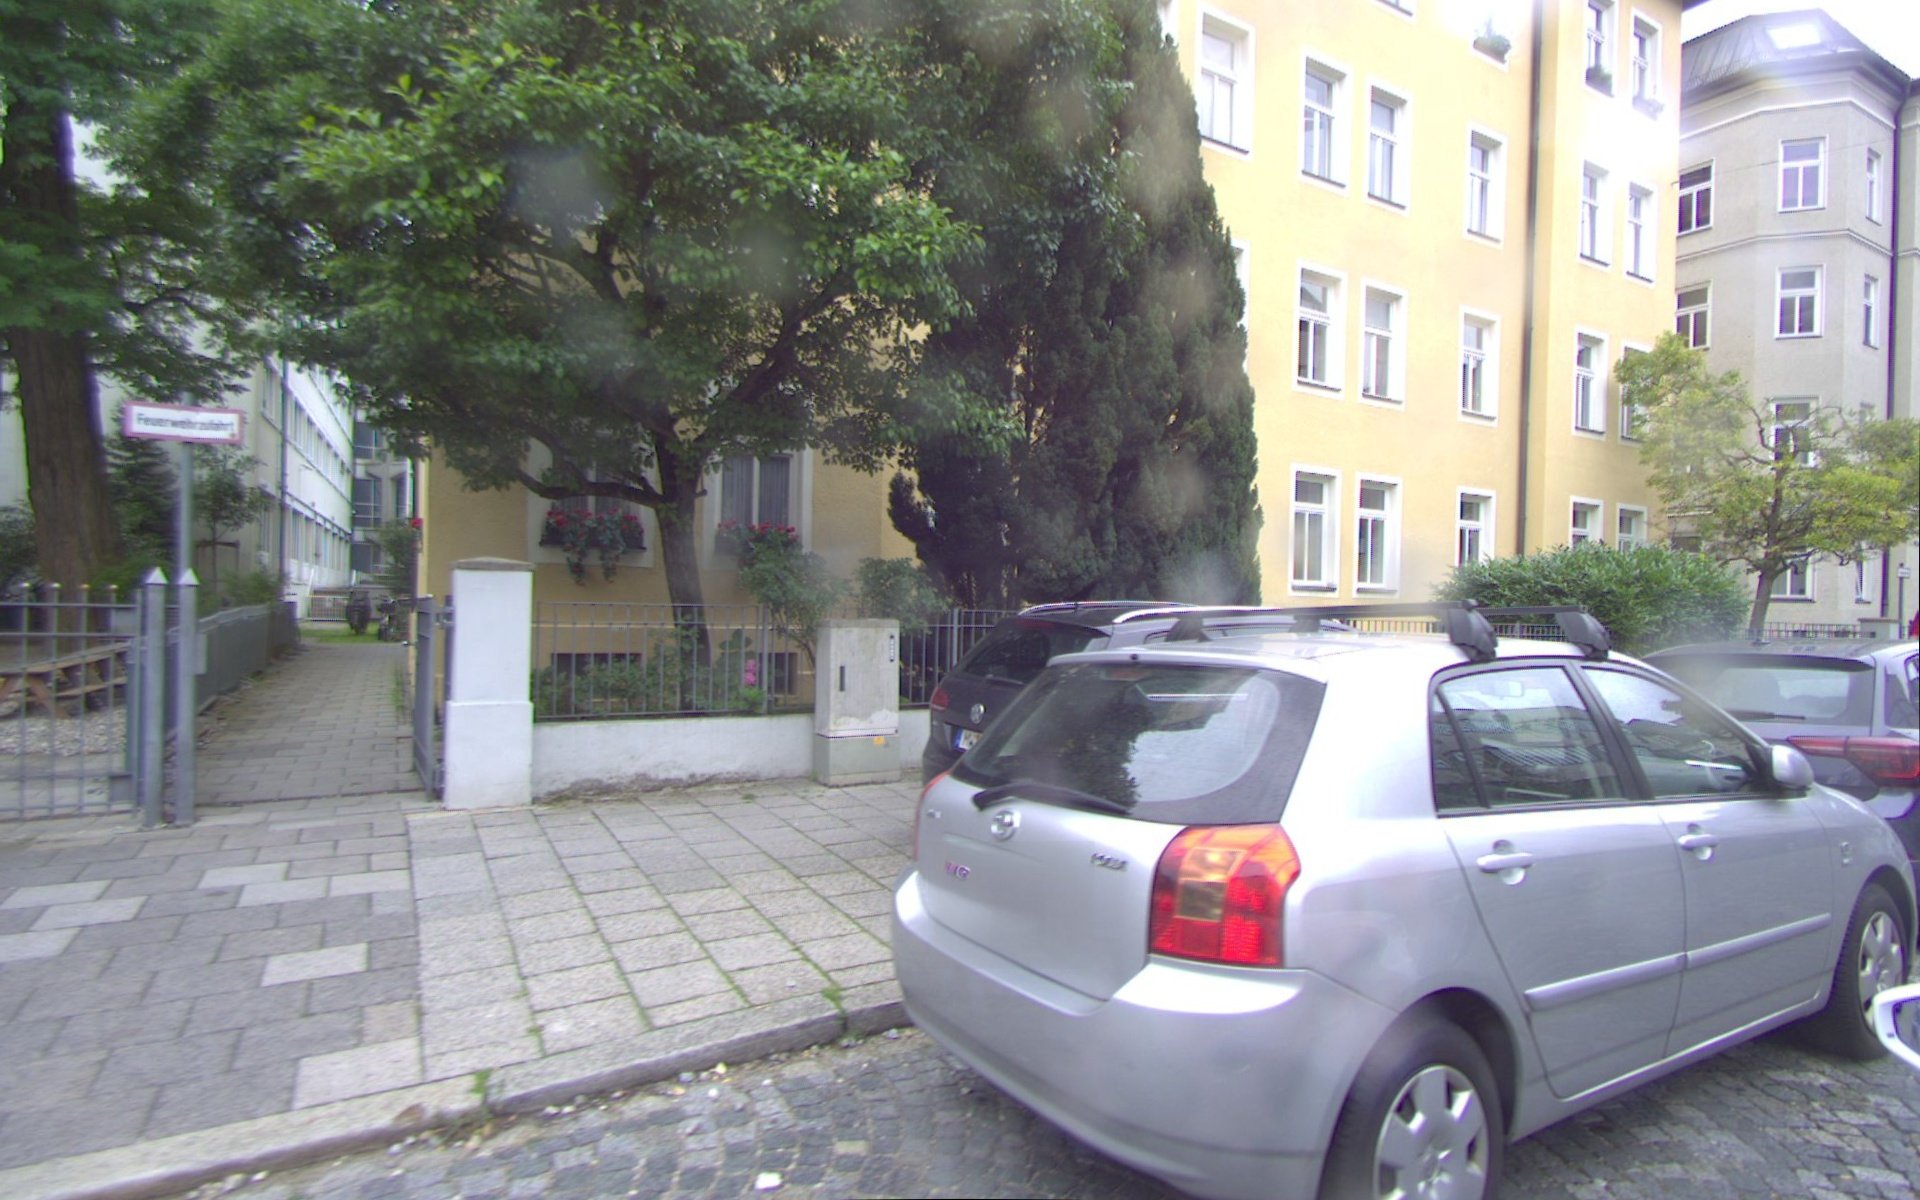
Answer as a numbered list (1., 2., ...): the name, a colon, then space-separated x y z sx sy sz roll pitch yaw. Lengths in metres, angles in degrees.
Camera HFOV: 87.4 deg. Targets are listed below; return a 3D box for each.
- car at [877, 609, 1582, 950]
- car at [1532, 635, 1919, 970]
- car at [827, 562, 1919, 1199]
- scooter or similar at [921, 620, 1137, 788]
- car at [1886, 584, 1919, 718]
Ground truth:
1. car: 1.937 0.893 6.632 4.667 1.517 1.706 1 2 -31
2. car: 5.393 0.936 6.030 3.891 1.437 1.721 1 -2 -31
3. car: 1.870 0.795 3.545 4.340 1.582 1.705 1 -2 -31
4. scooter or similar: 0.574 0.813 8.411 1.504 1.216 0.951 1 2 -30
5. car: 16.590 0.813 15.522 5.271 1.957 1.983 1 1 -32
